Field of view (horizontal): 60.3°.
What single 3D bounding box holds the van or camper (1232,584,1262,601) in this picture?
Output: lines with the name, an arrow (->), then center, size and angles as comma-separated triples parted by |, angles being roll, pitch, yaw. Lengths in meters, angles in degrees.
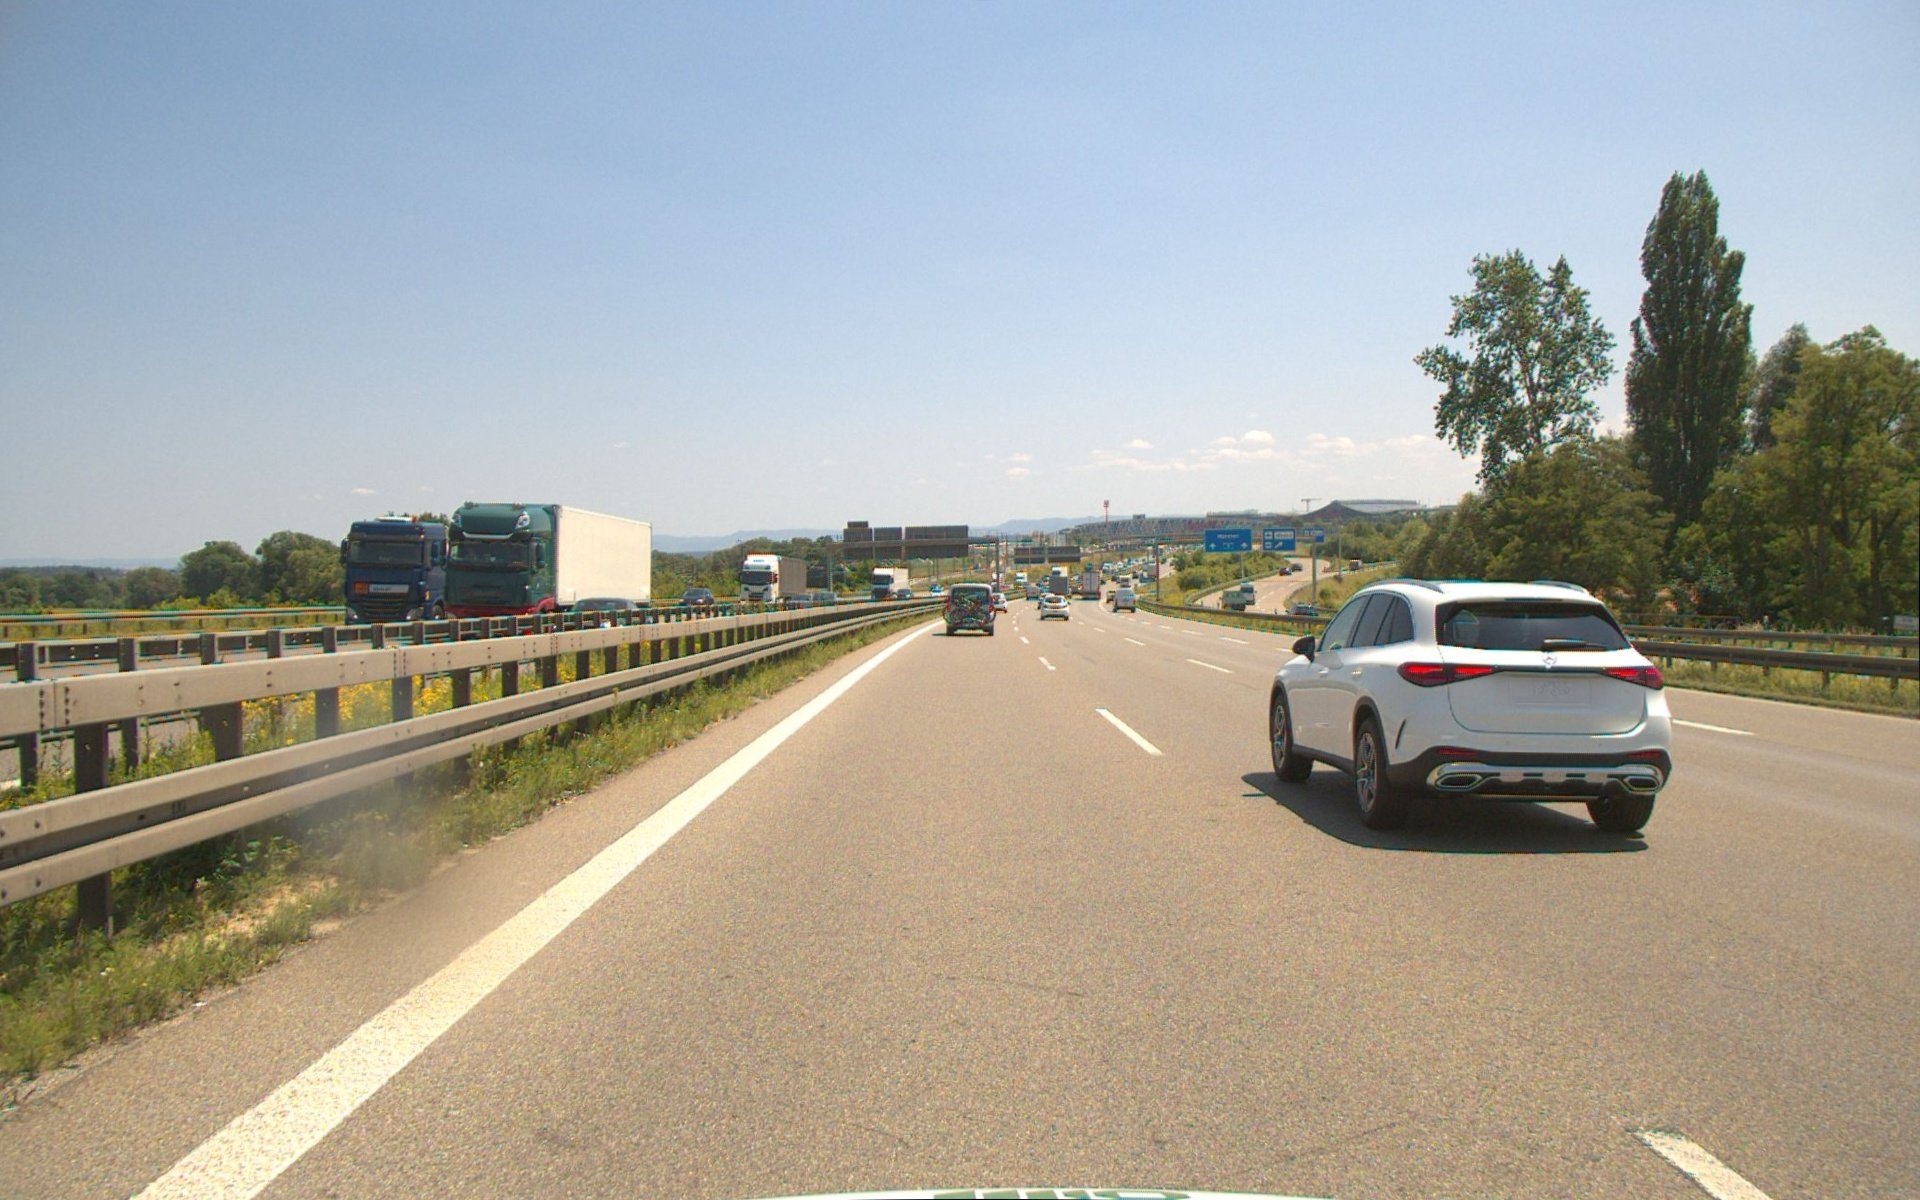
van or camper -> 35.581, -0.939, 204.876 | 2.481, 2.049, 4.454 | 0, 0, -7

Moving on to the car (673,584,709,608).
car -> -18.960, -0.278, 116.810 | 1.839, 1.642, 4.000 | 0, 0, 1

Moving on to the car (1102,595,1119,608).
car -> 19.361, 0.208, 213.458 | 1.952, 1.720, 4.001 | 0, 0, 2

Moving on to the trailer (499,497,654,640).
trailer -> -12.993, -0.967, 57.100 | 2.895, 4.448, 10.731 | 0, 0, 0

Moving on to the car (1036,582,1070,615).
car -> 5.599, -0.106, 100.141 | 1.887, 1.952, 4.518 | 0, 0, 1

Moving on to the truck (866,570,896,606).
truck -> -9.628, -1.468, 202.808 | 2.971, 4.314, 6.687 | 1, 0, 3

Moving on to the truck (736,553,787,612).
truck -> -14.661, -1.276, 122.740 | 2.821, 4.189, 6.385 | 1, 0, 1

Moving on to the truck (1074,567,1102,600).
truck -> 18.693, -2.467, 240.606 | 3.954, 4.335, 11.767 | 0, 2, 5

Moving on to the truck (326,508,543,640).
truck -> -17.050, -0.804, 54.972 | 3.153, 3.852, 12.900 | 0, 0, 0

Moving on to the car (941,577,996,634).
car -> 0.309, 0.197, 60.196 | 1.887, 1.952, 4.948 | 0, 0, 0

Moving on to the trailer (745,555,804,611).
trailer -> -14.487, -1.287, 130.046 | 2.830, 4.185, 12.588 | 1, 0, 1

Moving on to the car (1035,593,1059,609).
car -> 8.145, 0.119, 155.004 | 1.940, 1.499, 4.003 | 0, 0, 8

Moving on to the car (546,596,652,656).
car -> -9.118, 0.620, 42.052 | 1.768, 1.414, 4.291 | 0, 0, -1

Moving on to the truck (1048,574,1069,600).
truck -> 12.753, -1.652, 213.621 | 2.645, 3.163, 10.664 | 0, 0, 4

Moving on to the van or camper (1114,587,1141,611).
van or camper -> 14.648, -0.061, 144.546 | 2.111, 2.049, 4.306 | 0, 0, 3

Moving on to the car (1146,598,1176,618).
car -> 17.350, 0.664, 143.016 | 1.953, 1.720, 3.998 | 0, 0, -2

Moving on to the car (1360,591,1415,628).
car -> 23.171, 0.497, 89.797 | 1.899, 1.957, 4.179 | 0, 0, 0

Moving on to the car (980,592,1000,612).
car -> 2.395, 0.140, 130.121 | 1.543, 1.579, 3.964 | 0, 0, 1

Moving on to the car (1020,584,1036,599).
car -> 9.377, -1.126, 229.036 | 2.140, 2.038, 4.001 | 0, 0, 2

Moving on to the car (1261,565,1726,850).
car -> 3.618, 0.642, 12.308 | 1.859, 1.676, 4.998 | 0, 0, 0

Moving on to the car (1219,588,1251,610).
car -> 25.608, -0.112, 154.215 | 1.955, 2.049, 3.995 | 0, 0, -6

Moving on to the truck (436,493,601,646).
truck -> -12.977, -0.843, 49.320 | 2.906, 4.192, 7.597 | 0, 0, 0

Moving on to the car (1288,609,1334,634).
car -> 23.330, 1.417, 110.177 | 1.954, 1.624, 3.996 | 0, 0, -4

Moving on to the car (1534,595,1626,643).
car -> 21.637, 0.656, 57.875 | 1.665, 1.602, 4.127 | 0, 0, -1
